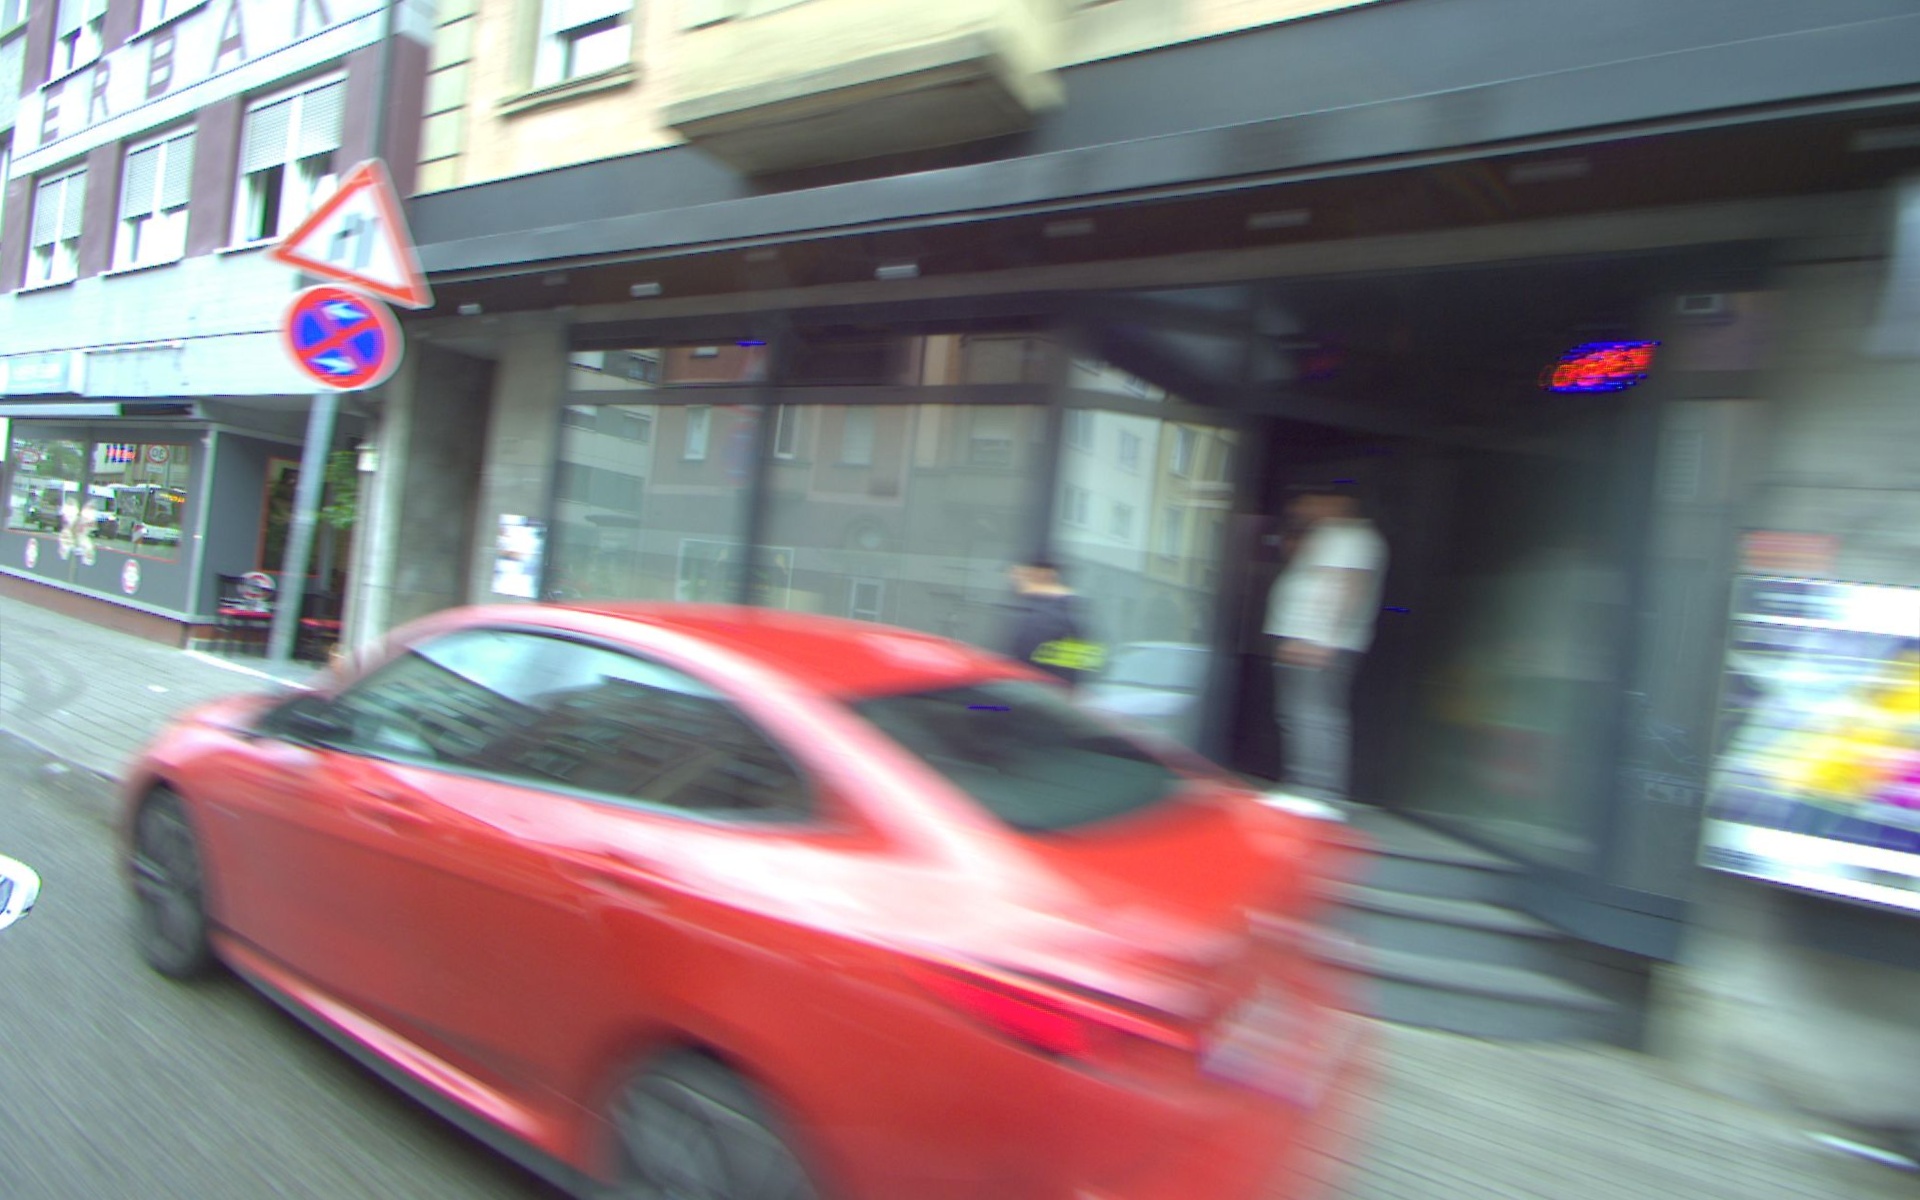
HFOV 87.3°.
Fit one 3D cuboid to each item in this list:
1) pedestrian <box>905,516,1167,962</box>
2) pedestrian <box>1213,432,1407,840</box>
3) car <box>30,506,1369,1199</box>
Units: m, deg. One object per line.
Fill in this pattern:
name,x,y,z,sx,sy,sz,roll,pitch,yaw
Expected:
pedestrian,0.366,0.582,4.638,0.782,1.801,0.745,6,0,30
pedestrian,1.814,0.167,5.179,0.638,1.917,0.704,6,0,30
car,-1.123,0.623,3.323,4.243,1.386,1.746,7,0,32
